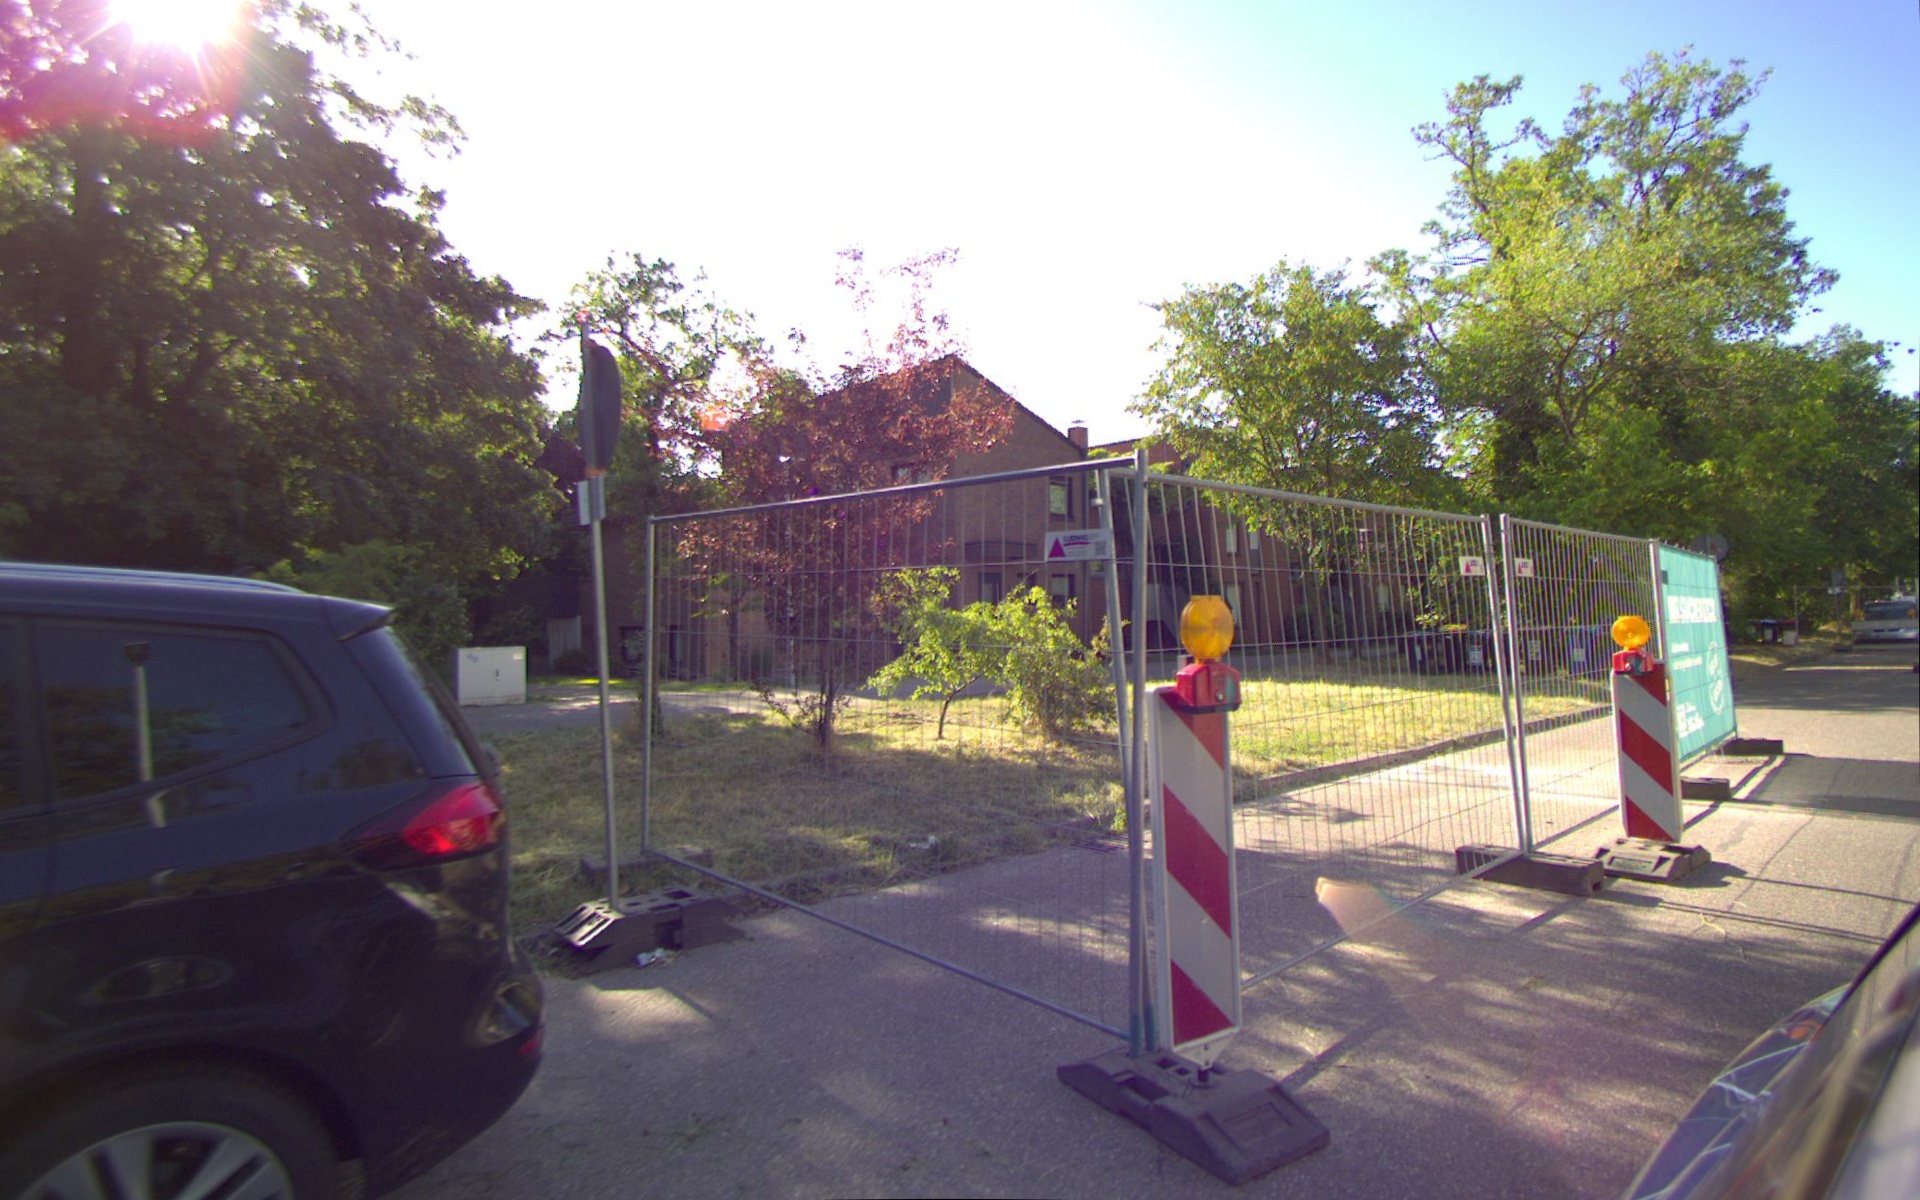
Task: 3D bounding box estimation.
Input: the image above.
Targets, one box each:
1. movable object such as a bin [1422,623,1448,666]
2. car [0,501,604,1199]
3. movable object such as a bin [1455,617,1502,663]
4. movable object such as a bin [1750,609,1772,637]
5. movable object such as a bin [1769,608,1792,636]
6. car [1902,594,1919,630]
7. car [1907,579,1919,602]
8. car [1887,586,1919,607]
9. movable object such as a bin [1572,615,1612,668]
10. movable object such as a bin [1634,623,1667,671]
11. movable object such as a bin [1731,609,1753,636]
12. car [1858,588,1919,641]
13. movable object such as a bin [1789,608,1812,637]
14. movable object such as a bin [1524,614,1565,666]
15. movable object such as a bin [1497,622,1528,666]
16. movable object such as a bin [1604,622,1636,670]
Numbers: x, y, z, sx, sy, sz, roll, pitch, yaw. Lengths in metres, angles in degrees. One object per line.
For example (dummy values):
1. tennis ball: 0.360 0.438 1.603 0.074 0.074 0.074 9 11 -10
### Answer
1. movable object such as a bin: 10.387 0.971 22.116 0.423 0.893 0.518 0 0 36
2. car: -3.094 0.726 1.714 4.340 1.672 1.813 -1 -3 -38
3. movable object such as a bin: 11.094 0.845 21.635 0.683 0.940 0.695 -1 0 -42
4. movable object such as a bin: 25.913 0.736 32.745 0.550 0.872 0.484 0 -2 -45
5. movable object such as a bin: 26.256 0.709 32.388 0.550 0.872 0.484 0 -2 -45
6. car: 42.148 0.474 43.926 2.629 1.529 1.496 0 -3 -40
7. car: 111.056 -1.134 115.375 4.399 2.578 1.859 -1 -1 44
8. car: 91.895 -0.330 96.357 1.967 2.030 5.259 0 -1 -43
9. movable object such as a bin: 12.555 0.816 20.110 0.598 1.012 0.519 -1 0 -42
10. movable object such as a bin: 13.179 0.886 19.311 0.476 0.881 0.413 -1 0 -42
11. movable object such as a bin: 25.614 0.735 33.143 0.550 0.872 0.484 0 -2 -45
12. car: 31.561 0.468 33.972 4.068 1.643 1.680 0 -3 -43
13. movable object such as a bin: 26.601 0.713 32.039 0.550 0.872 0.484 0 -2 -45
14. movable object such as a bin: 11.981 0.813 20.740 0.598 1.012 0.563 -1 0 -42
15. movable object such as a bin: 11.520 0.903 21.107 0.516 0.881 0.419 -1 0 -42
16. movable object such as a bin: 12.803 0.885 19.633 0.476 0.881 0.413 -1 0 -42
